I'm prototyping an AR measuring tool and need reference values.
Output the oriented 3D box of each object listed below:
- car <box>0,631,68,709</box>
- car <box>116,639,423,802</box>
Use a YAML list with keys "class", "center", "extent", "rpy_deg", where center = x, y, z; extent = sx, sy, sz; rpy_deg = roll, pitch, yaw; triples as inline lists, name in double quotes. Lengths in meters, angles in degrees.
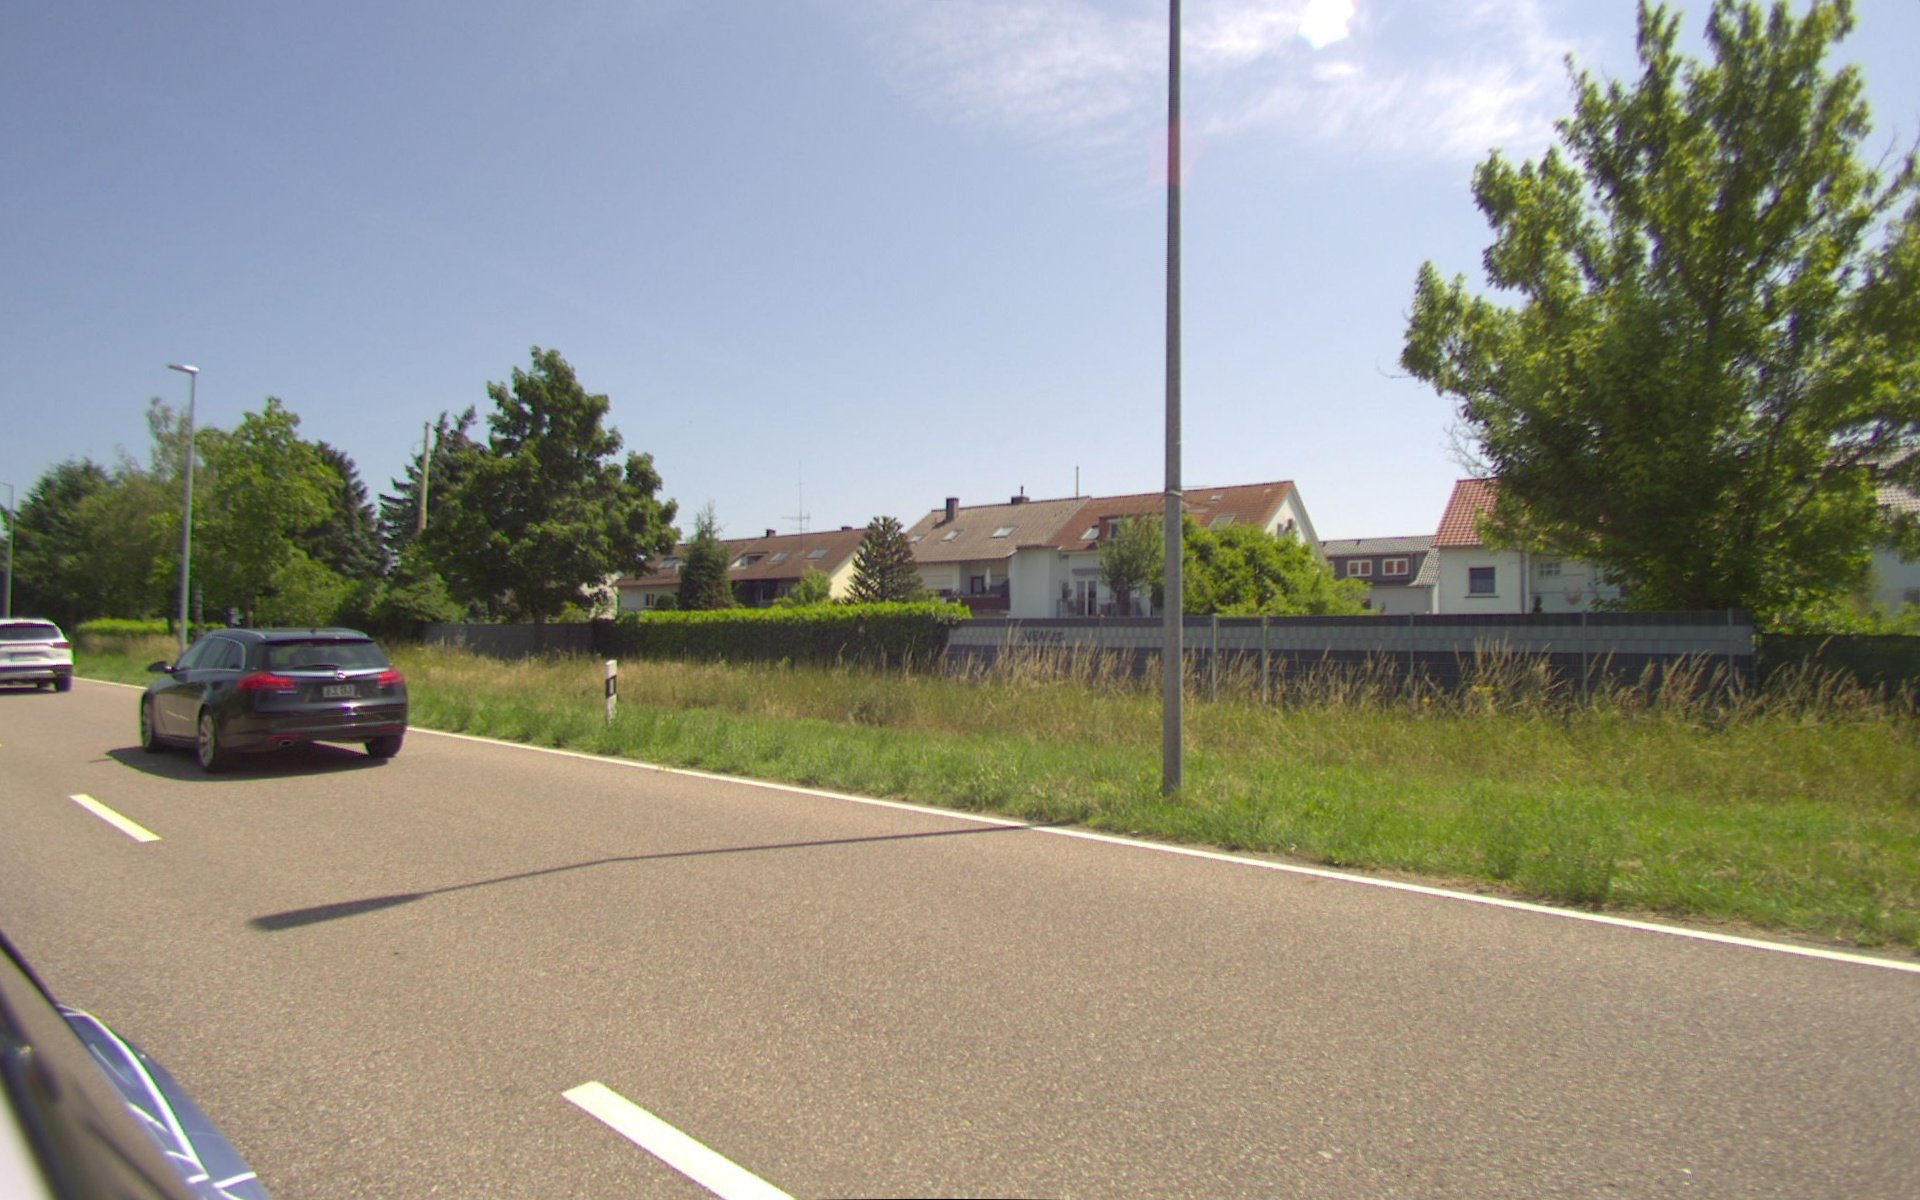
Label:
- class: "car"
  center: [-23.424, 1.663, 24.692]
  extent: [4.929, 1.773, 1.820]
  rpy_deg: [-2, -3, 41]
- class: "car"
  center: [-8.084, 1.218, 11.651]
  extent: [4.826, 1.507, 1.717]
  rpy_deg: [-2, -3, 41]
